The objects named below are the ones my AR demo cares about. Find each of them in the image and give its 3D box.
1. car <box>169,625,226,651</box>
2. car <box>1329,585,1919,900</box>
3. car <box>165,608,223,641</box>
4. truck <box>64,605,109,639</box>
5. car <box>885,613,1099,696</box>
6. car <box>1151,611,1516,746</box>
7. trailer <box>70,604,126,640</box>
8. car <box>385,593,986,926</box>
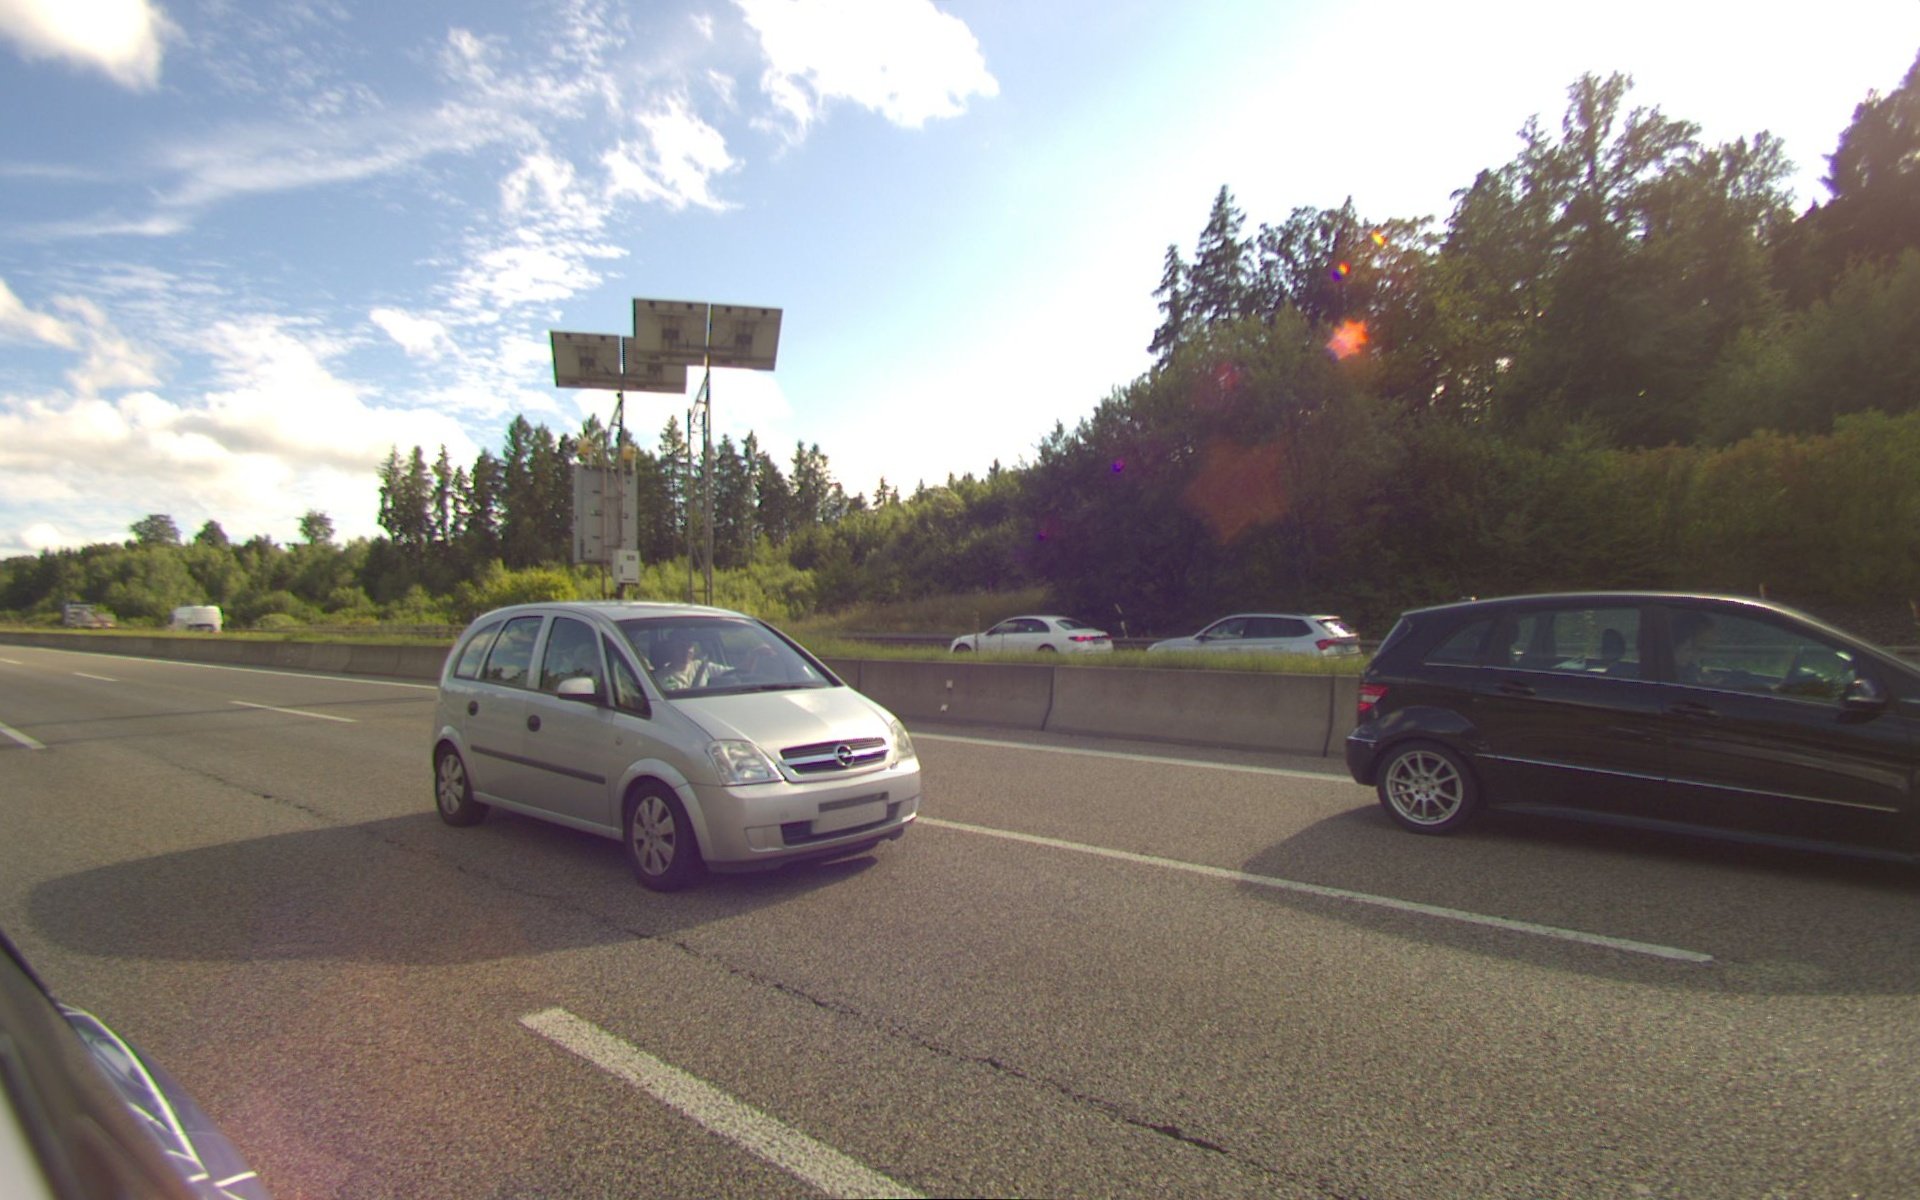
[{"bbox_3d":[-45.363,2.254,60.157,3.998,1.464,1.972,-2,-1,42],"label":"car"},{"bbox_3d":[4.717,0.714,6.081,4.331,1.529,1.816,-2,-1,41],"label":"car"},{"bbox_3d":[-55.939,1.803,73.864,6.721,2.330,2.087,-2,-1,41],"label":"car"},{"bbox_3d":[-104.099,2.639,120.511,7.119,3.867,3.082,-2,-1,41],"label":"truck"},{"bbox_3d":[0.811,1.488,29.332,5.963,2.155,2.552,-2,-1,41],"label":"car"},{"bbox_3d":[6.892,1.325,19.167,5.963,2.155,2.552,-2,-1,41],"label":"car"},{"bbox_3d":[-98.690,2.513,115.781,12.202,3.867,3.091,-2,-1,41],"label":"trailer"},{"bbox_3d":[-2.066,0.781,6.786,4.331,1.529,1.816,-2,-1,41],"label":"car"}]
